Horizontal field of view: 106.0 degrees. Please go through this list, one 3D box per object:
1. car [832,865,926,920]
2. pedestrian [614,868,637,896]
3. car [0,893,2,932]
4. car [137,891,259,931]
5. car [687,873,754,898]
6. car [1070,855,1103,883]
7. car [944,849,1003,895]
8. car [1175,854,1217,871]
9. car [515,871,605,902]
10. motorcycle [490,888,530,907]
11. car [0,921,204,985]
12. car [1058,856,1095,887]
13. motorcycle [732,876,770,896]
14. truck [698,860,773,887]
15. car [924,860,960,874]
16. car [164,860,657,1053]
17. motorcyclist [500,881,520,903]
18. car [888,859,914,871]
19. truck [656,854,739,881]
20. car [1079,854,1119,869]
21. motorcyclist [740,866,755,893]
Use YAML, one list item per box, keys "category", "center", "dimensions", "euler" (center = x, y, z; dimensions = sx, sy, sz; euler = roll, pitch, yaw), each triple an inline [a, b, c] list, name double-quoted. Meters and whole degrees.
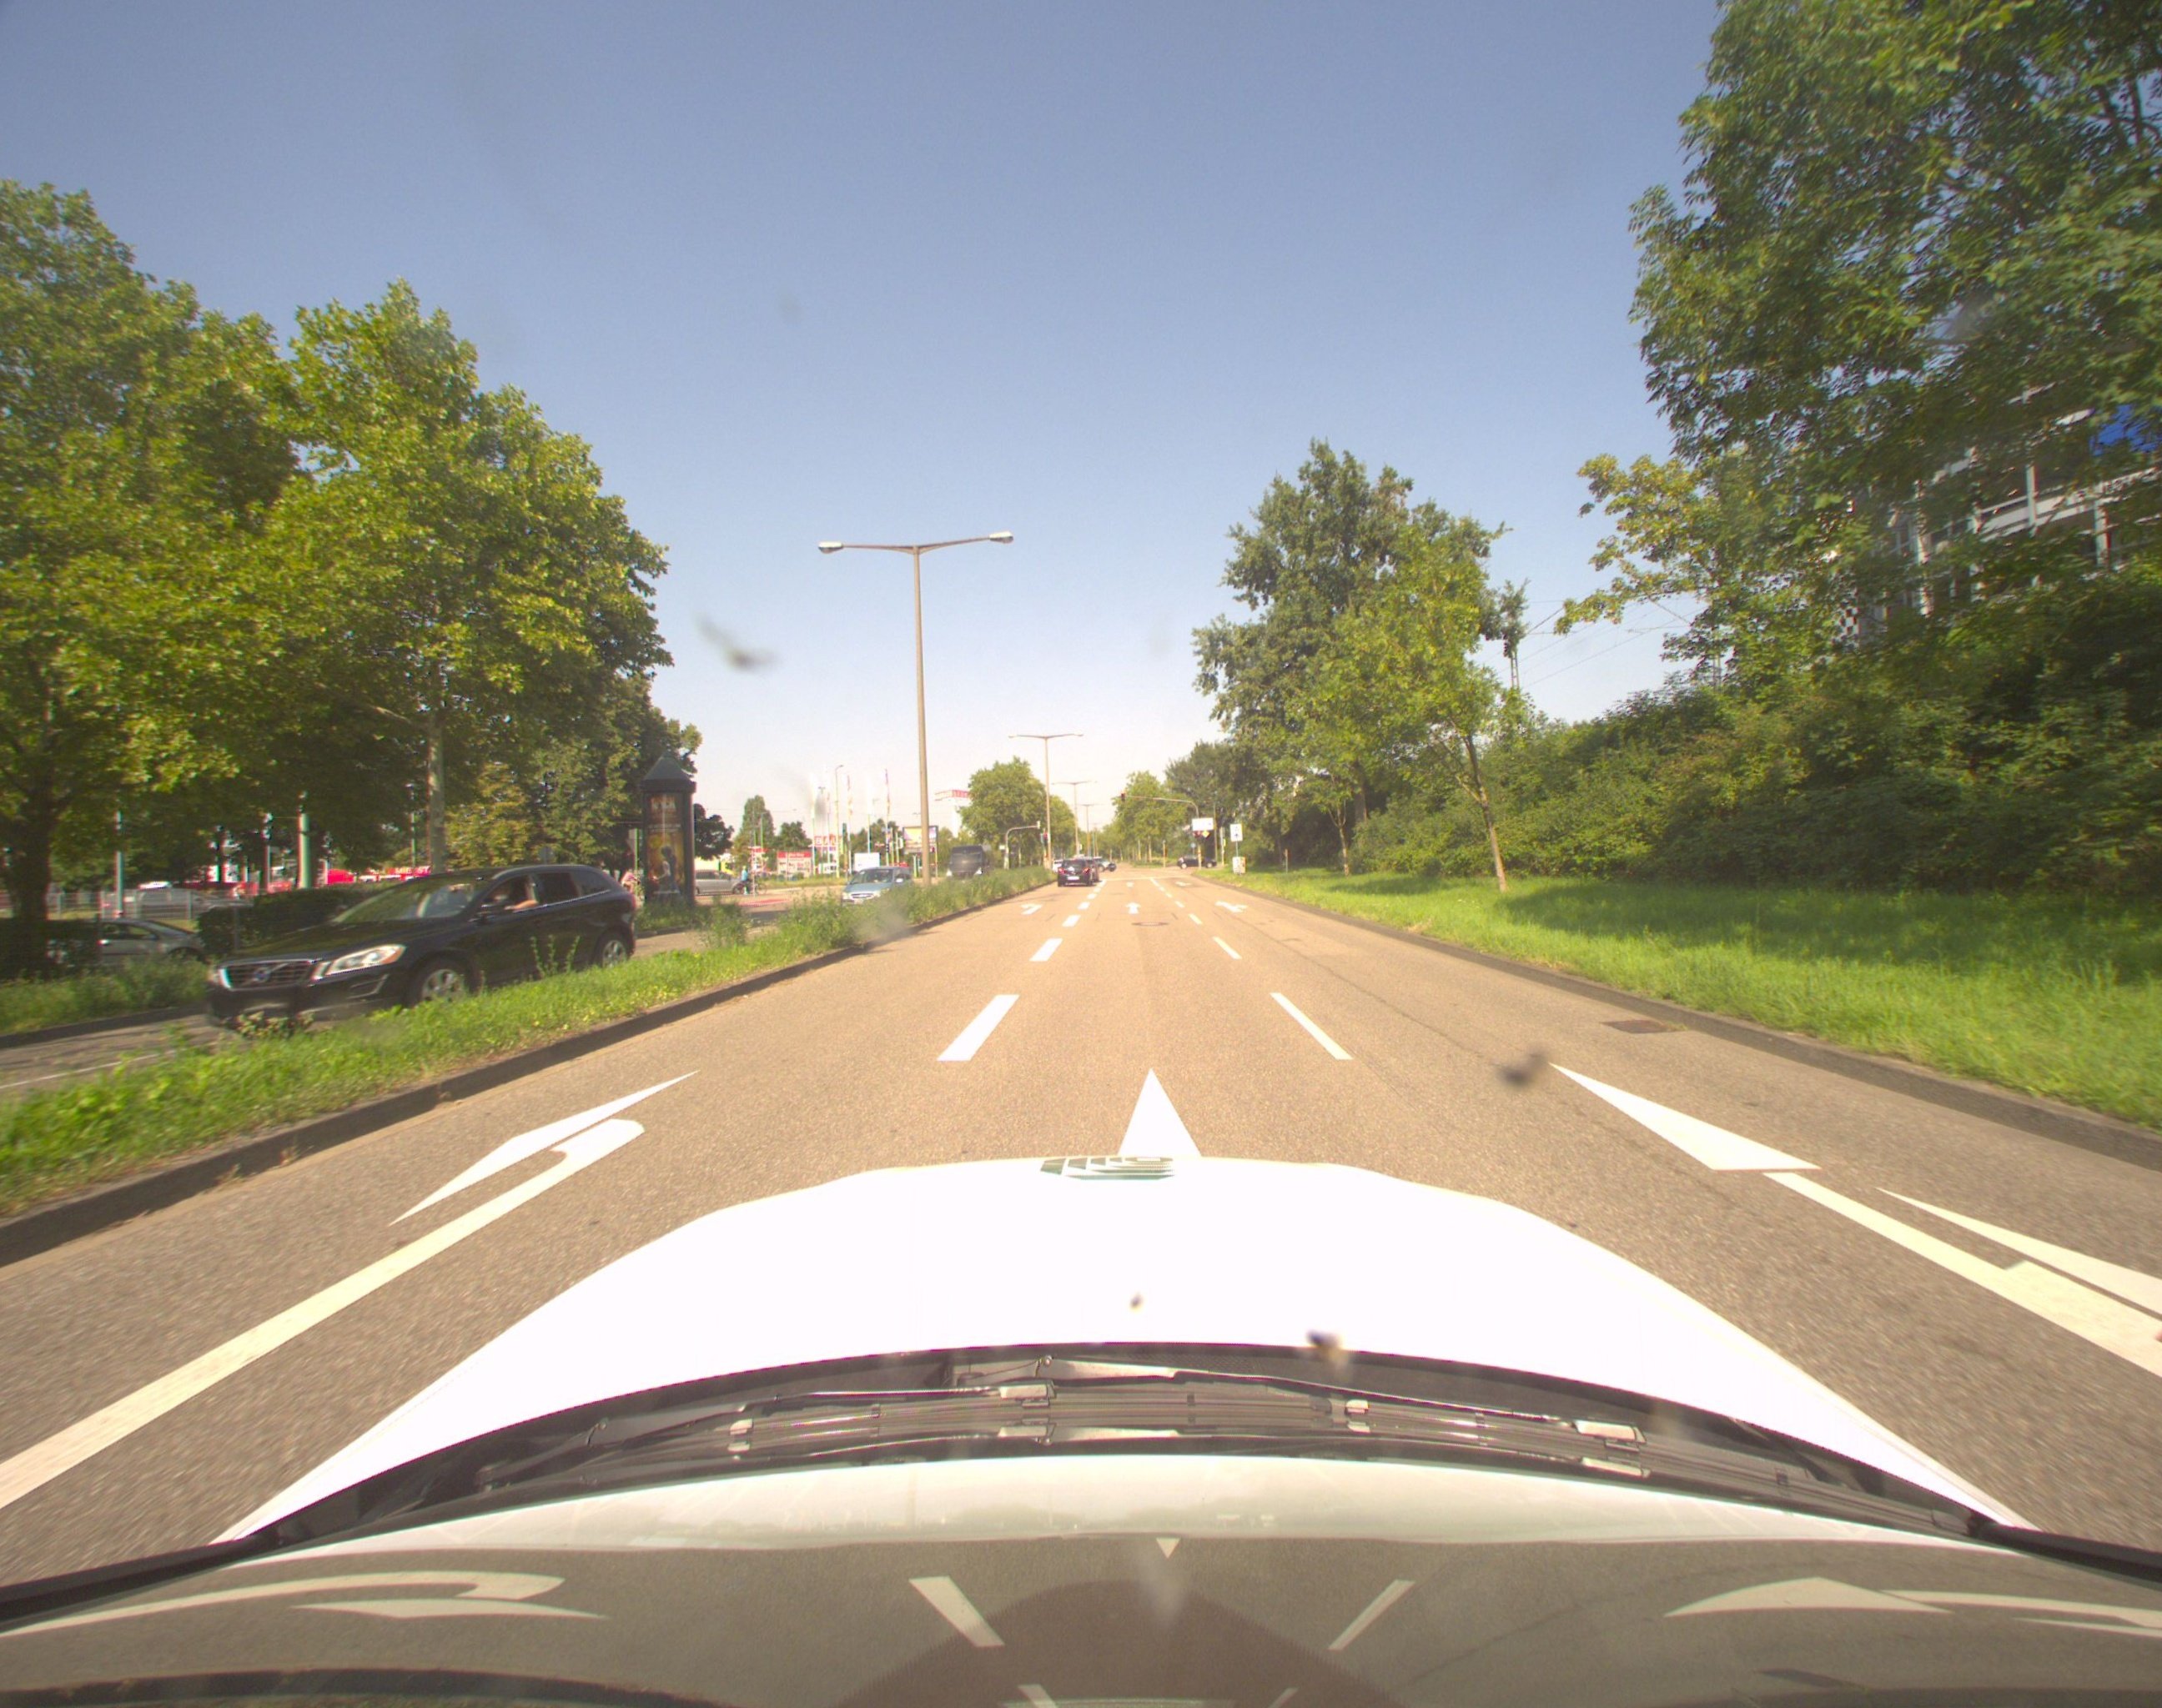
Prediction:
- category: "car"
  center: [-6.358, 1.166, 26.058]
  dimensions: [1.765, 1.574, 4.004]
  euler: [-1, -1, 3]
- category: "pedestrian"
  center: [-25.799, 1.583, 46.140]
  dimensions: [1.062, 1.575, 0.859]
  euler: [-1, -1, -33]
- category: "car"
  center: [-48.181, 2.544, 33.596]
  dimensions: [4.016, 1.679, 1.851]
  euler: [-1, -1, -34]
- category: "car"
  center: [-41.120, 2.616, 38.024]
  dimensions: [3.505, 1.580, 1.708]
  euler: [-2, 0, -33]
- category: "car"
  center: [-22.736, 1.966, 51.415]
  dimensions: [3.716, 1.443, 1.451]
  euler: [-1, -1, -33]
- category: "car"
  center: [0.345, 0.869, 47.907]
  dimensions: [1.685, 1.486, 4.003]
  euler: [-3, 0, 3]
- category: "car"
  center: [-5.881, 0.953, 45.410]
  dimensions: [2.103, 2.333, 6.287]
  euler: [-1, -1, 3]
- category: "car"
  center: [11.311, 0.818, 80.402]
  dimensions: [3.945, 1.533, 1.825]
  euler: [-1, -1, 3]
- category: "car"
  center: [-30.068, 1.846, 47.068]
  dimensions: [4.329, 1.579, 1.555]
  euler: [-1, -1, -35]
- category: "motorcycle"
  center: [-31.123, 2.363, 44.383]
  dimensions: [1.727, 0.945, 0.705]
  euler: [-1, -1, -32]
- category: "car"
  center: [-26.301, 2.589, 21.470]
  dimensions: [4.016, 1.256, 1.574]
  euler: [-3, 0, -34]
- category: "car"
  center: [-0.195, 0.887, 43.108]
  dimensions: [1.685, 1.486, 4.003]
  euler: [-3, 0, 3]
- category: "motorcycle"
  center: [-20.225, 1.948, 49.895]
  dimensions: [2.083, 1.136, 0.670]
  euler: [-1, -1, -33]
- category: "truck"
  center: [-32.051, 1.829, 75.610]
  dimensions: [5.961, 2.329, 2.106]
  euler: [-1, -1, 0]
- category: "car"
  center: [-14.866, 1.396, 87.238]
  dimensions: [3.353, 1.137, 1.498]
  euler: [-5, 0, 11]
- category: "car"
  center: [-7.281, 0.950, 9.658]
  dimensions: [1.986, 1.706, 4.506]
  euler: [-1, -1, 2]
- category: "motorcyclist"
  center: [-31.132, 2.076, 44.386]
  dimensions: [0.833, 1.178, 0.684]
  euler: [-1, -1, -32]
- category: "car"
  center: [-34.366, 2.100, 155.513]
  dimensions: [4.311, 2.014, 1.977]
  euler: [-1, -1, -37]
- category: "truck"
  center: [-48.398, 1.726, 102.946]
  dimensions: [9.048, 2.958, 3.478]
  euler: [-3, -1, -33]
- category: "car"
  center: [1.846, 0.739, 83.472]
  dimensions: [3.928, 1.486, 1.635]
  euler: [-1, -1, 41]
- category: "motorcyclist"
  center: [-20.388, 1.555, 49.801]
  dimensions: [0.686, 1.572, 0.676]
  euler: [-1, -1, -33]
